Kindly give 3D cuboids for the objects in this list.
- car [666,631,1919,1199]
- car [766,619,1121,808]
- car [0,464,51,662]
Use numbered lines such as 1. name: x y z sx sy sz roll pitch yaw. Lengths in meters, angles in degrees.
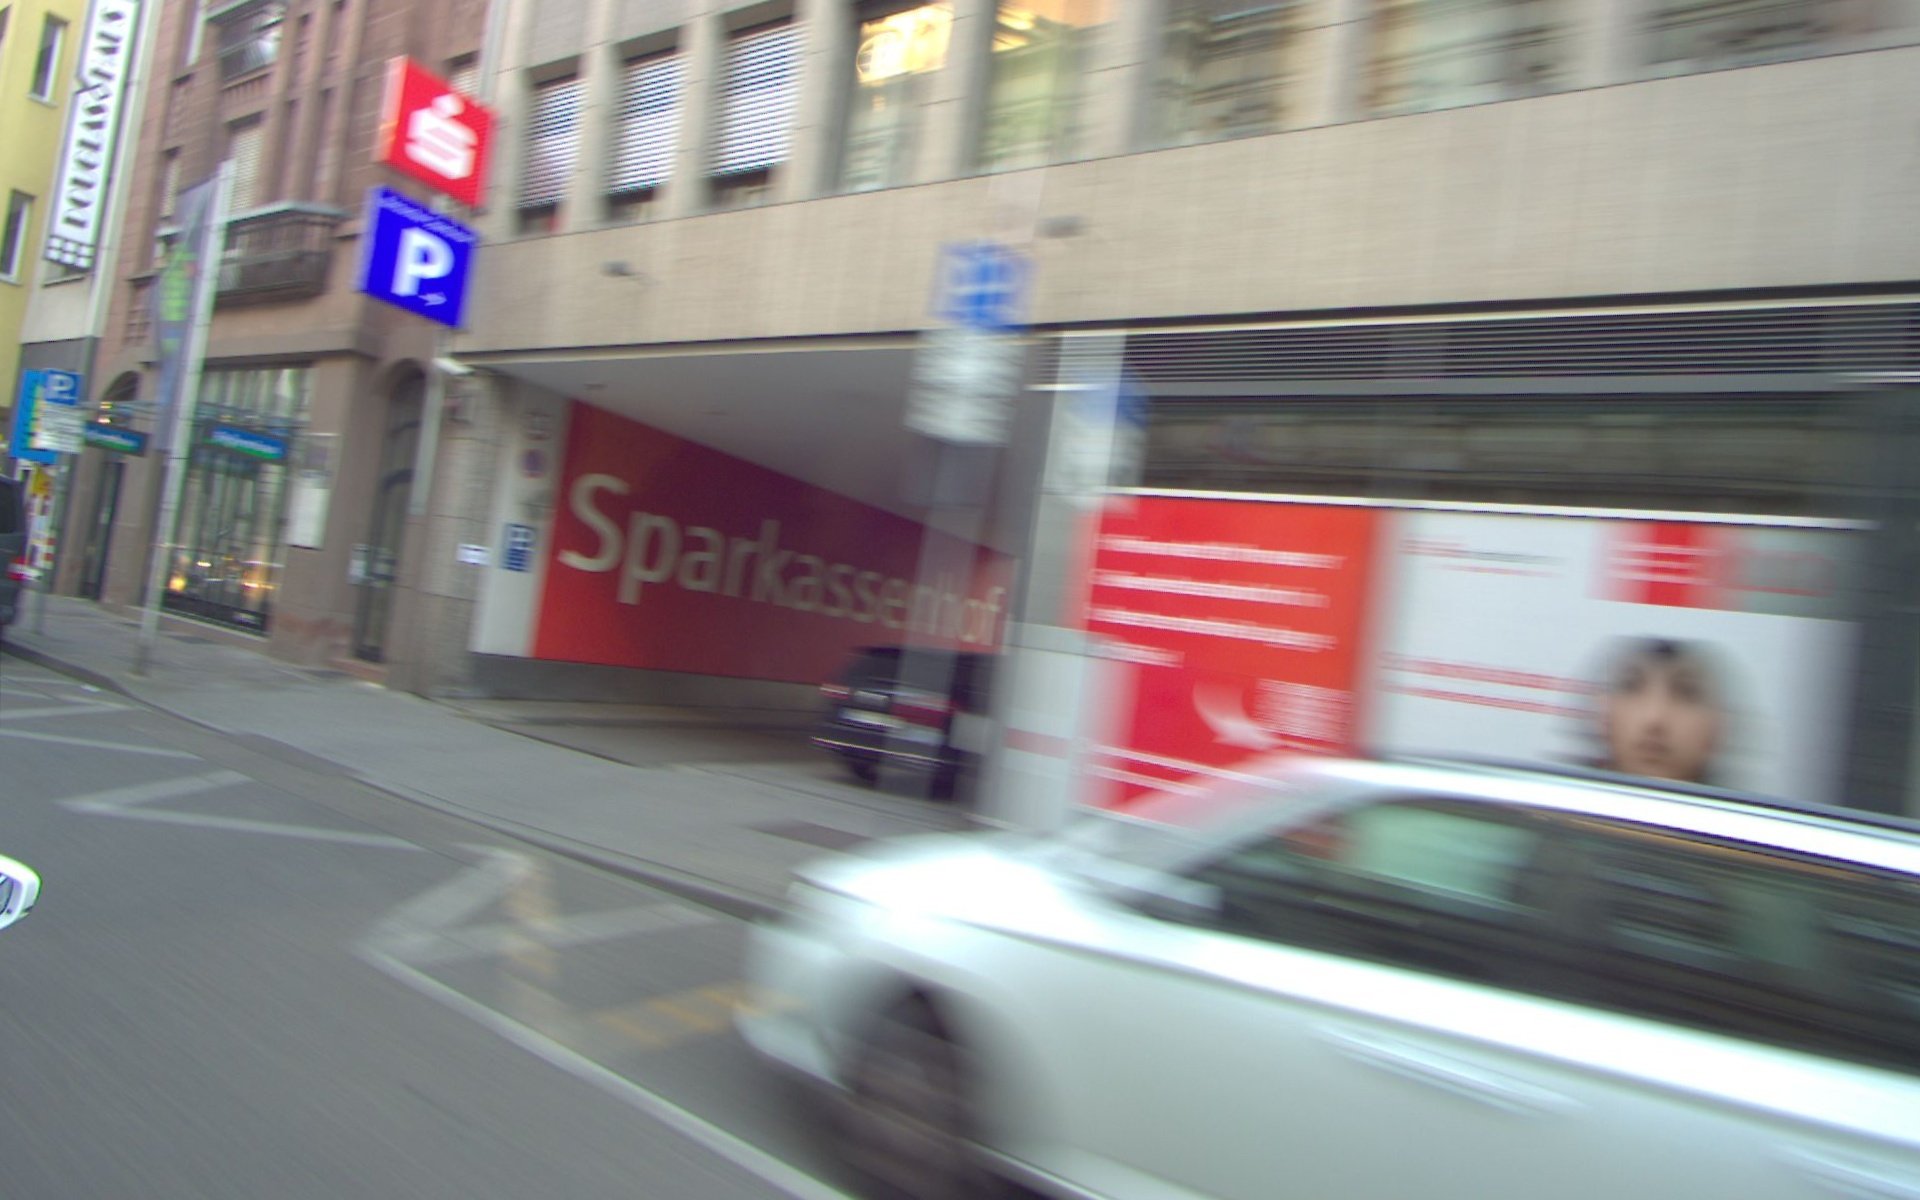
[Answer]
1. car: 1.379 1.128 2.824 4.236 1.463 1.662 6 -4 31
2. car: 0.070 1.308 11.348 1.885 1.517 4.416 6 -5 30
3. car: -12.704 -0.706 11.519 4.970 2.080 1.852 6 -4 31
